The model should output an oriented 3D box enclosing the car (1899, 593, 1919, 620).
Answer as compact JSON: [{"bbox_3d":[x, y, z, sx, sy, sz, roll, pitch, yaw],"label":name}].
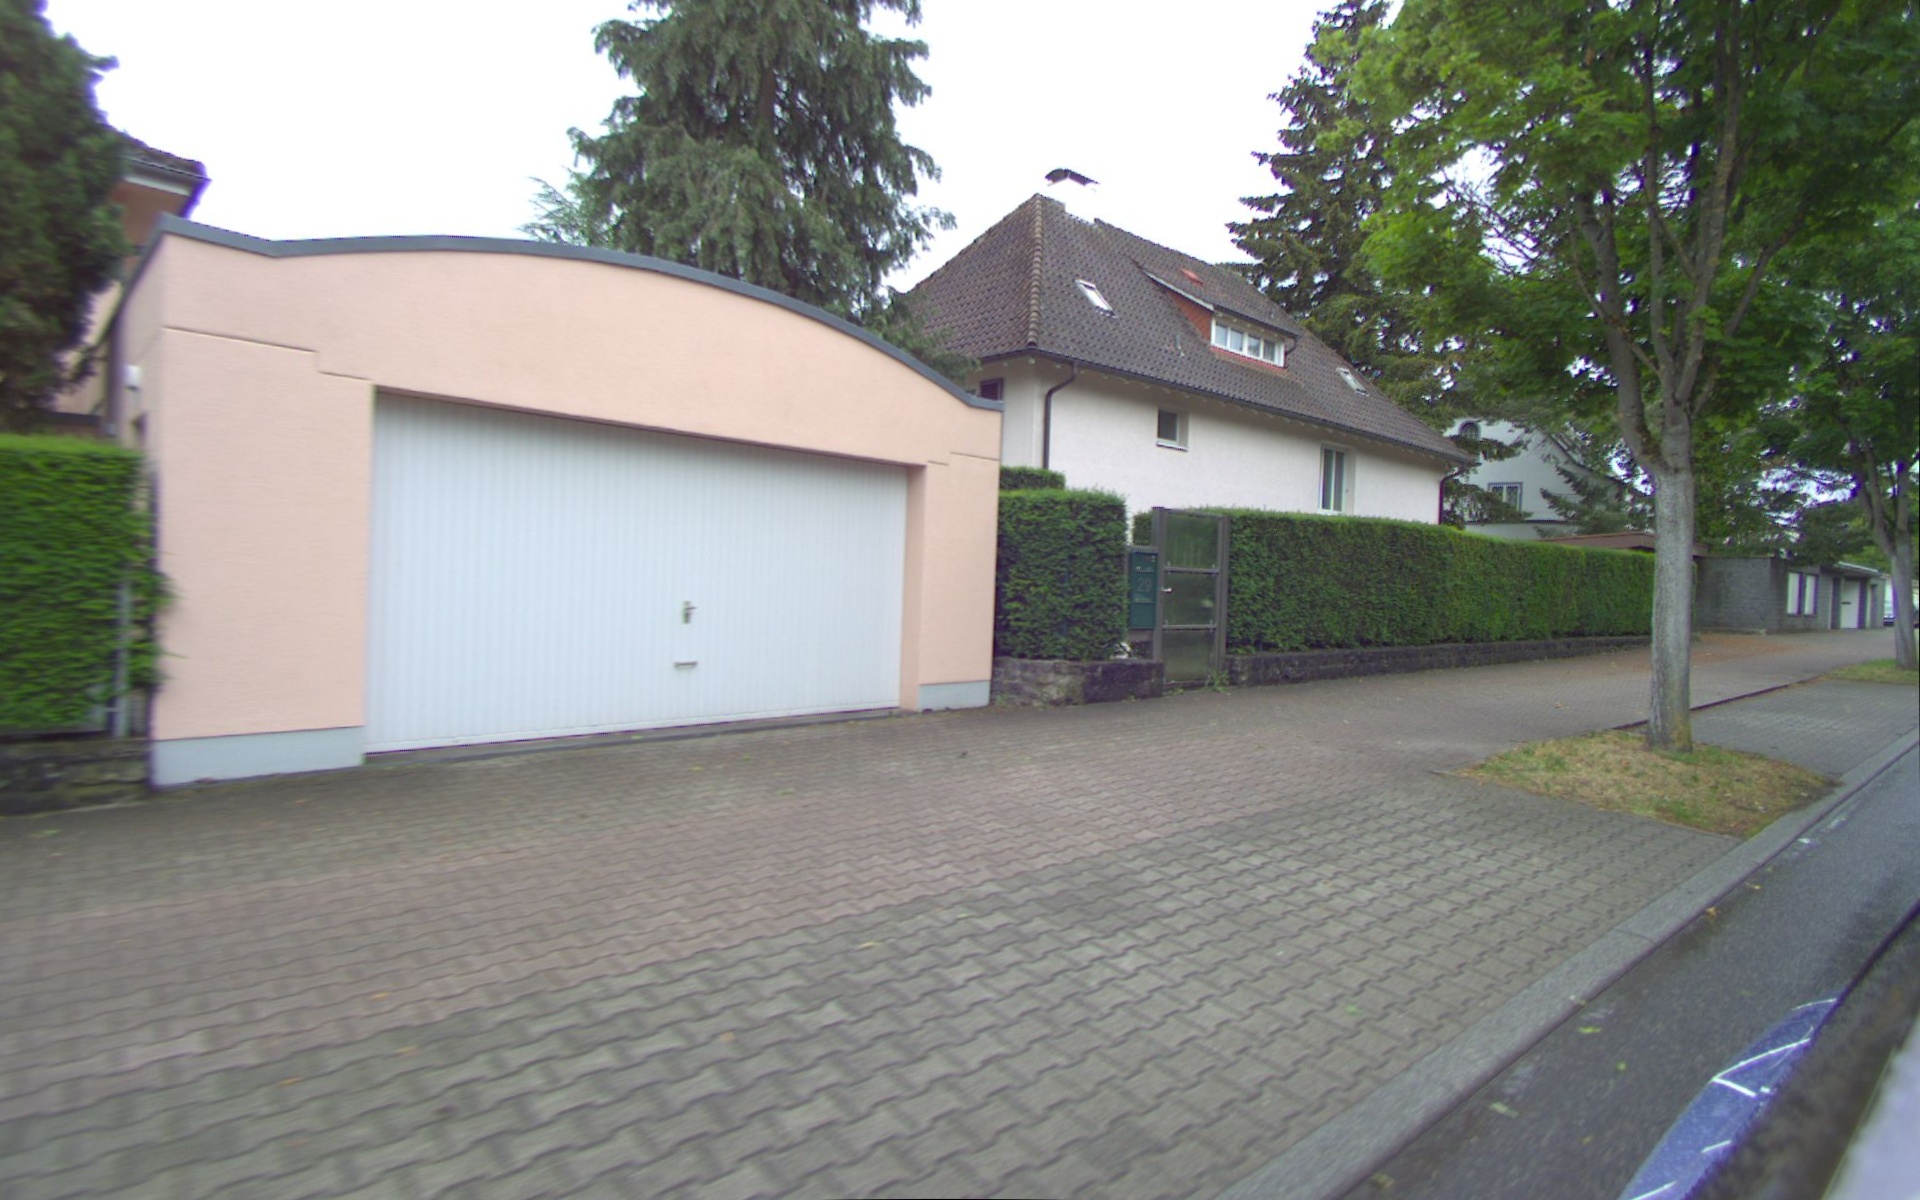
[{"bbox_3d":[51.500,0.340,53.940,3.929,1.440,1.665,0,0,-41],"label":"car"}]
